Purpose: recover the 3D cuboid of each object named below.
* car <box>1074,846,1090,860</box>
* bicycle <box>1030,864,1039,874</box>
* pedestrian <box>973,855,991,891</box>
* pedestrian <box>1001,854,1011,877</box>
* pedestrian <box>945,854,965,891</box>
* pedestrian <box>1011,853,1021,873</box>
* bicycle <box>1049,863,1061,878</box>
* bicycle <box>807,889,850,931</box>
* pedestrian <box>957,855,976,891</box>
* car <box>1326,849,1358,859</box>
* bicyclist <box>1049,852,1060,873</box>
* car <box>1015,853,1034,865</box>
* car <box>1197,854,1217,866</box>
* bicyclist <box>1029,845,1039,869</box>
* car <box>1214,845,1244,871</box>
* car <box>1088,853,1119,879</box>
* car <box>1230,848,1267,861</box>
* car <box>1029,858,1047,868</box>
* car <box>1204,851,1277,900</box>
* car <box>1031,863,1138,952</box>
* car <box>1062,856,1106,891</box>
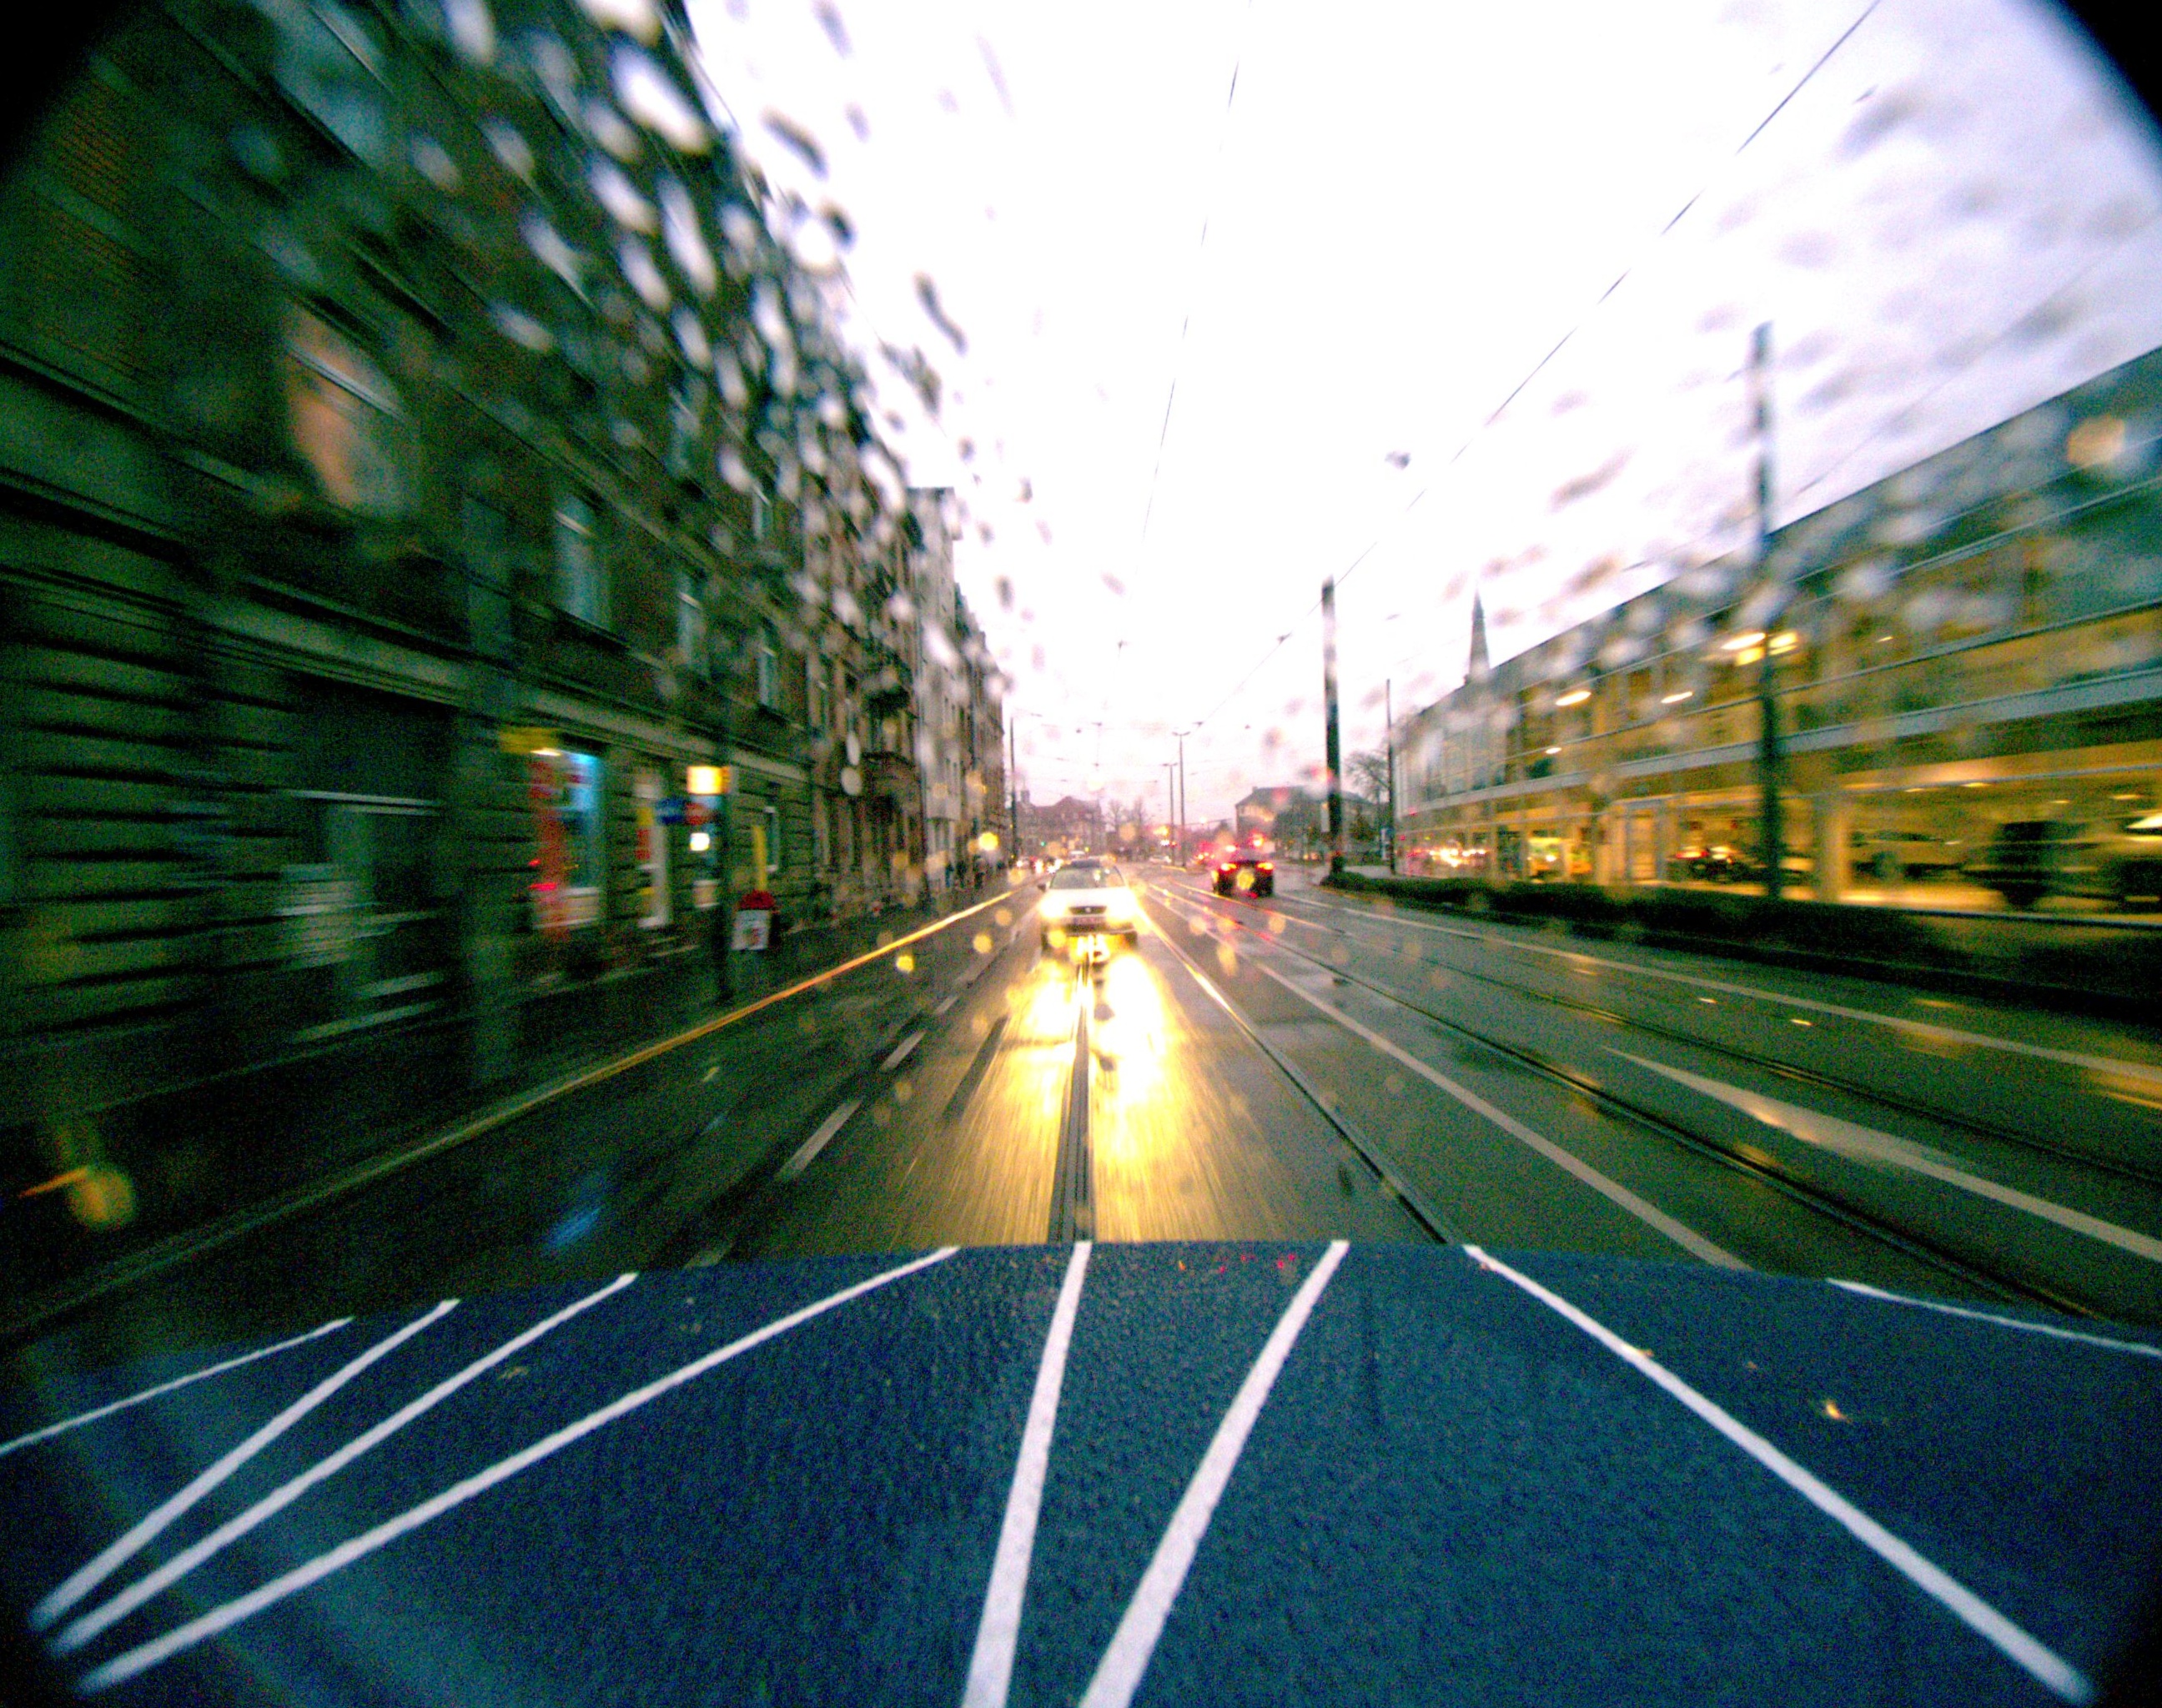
[{"bbox_3d":[0.162,-0.168,105.876,2.018,1.809,3.688,-2,1,1],"label":"car"},{"bbox_3d":[-3.809,1.206,62.155,0.609,0.757,1.860,-1,1,-1],"label":"bicycle"},{"bbox_3d":[-4.842,0.921,37.201,0.777,1.734,0.673,-1,1,1],"label":"pedestrian"},{"bbox_3d":[-5.295,0.814,53.717,0.633,1.539,0.710,-2,1,0],"label":"pedestrian"},{"bbox_3d":[-6.014,0.853,36.246,0.777,1.734,0.673,-1,1,1],"label":"pedestrian"},{"bbox_3d":[-6.174,0.855,72.172,0.753,1.814,0.711,-2,1,4],"label":"pedestrian"},{"bbox_3d":[-1.926,1.223,56.136,0.725,0.985,2.212,-2,0,0],"label":"bicycle"},{"bbox_3d":[-6.185,1.352,18.703,0.398,0.905,1.866,-1,0,1],"label":"bicycle"},{"bbox_3d":[-5.740,0.950,38.188,0.777,1.734,0.673,-1,1,1],"label":"pedestrian"},{"bbox_3d":[38.424,0.051,112.093,2.003,1.302,3.990,-3,1,-36],"label":"car"},{"bbox_3d":[-1.949,0.648,56.117,0.727,1.525,0.785,-2,1,0],"label":"bicyclist"},{"bbox_3d":[-9.084,0.855,122.411,1.997,1.827,4.873,-2,0,6],"label":"car"},{"bbox_3d":[14.516,0.679,87.912,1.876,1.382,4.001,0,0,4],"label":"car"},{"bbox_3d":[-3.827,0.249,62.077,0.747,1.869,1.111,-1,1,-1],"label":"bicyclist"},{"bbox_3d":[12.517,0.319,64.509,1.998,2.002,4.686,-2,1,5],"label":"car"},{"bbox_3d":[1.470,0.778,50.540,1.824,1.565,3.999,-2,0,0],"label":"car"},{"bbox_3d":[27.423,0.095,124.091,5.556,2.002,1.997,-2,1,-16],"label":"car"},{"bbox_3d":[-7.354,1.505,129.497,1.825,1.499,3.808,-2,0,16],"label":"car"},{"bbox_3d":[5.608,0.696,27.209,1.845,1.569,4.443,-1,0,2],"label":"car"},{"bbox_3d":[0.156,0.938,15.012,1.797,1.415,4.000,-2,0,3],"label":"car"},{"bbox_3d":[0.198,0.862,34.868,1.797,1.415,4.000,-2,0,3],"label":"car"}]
